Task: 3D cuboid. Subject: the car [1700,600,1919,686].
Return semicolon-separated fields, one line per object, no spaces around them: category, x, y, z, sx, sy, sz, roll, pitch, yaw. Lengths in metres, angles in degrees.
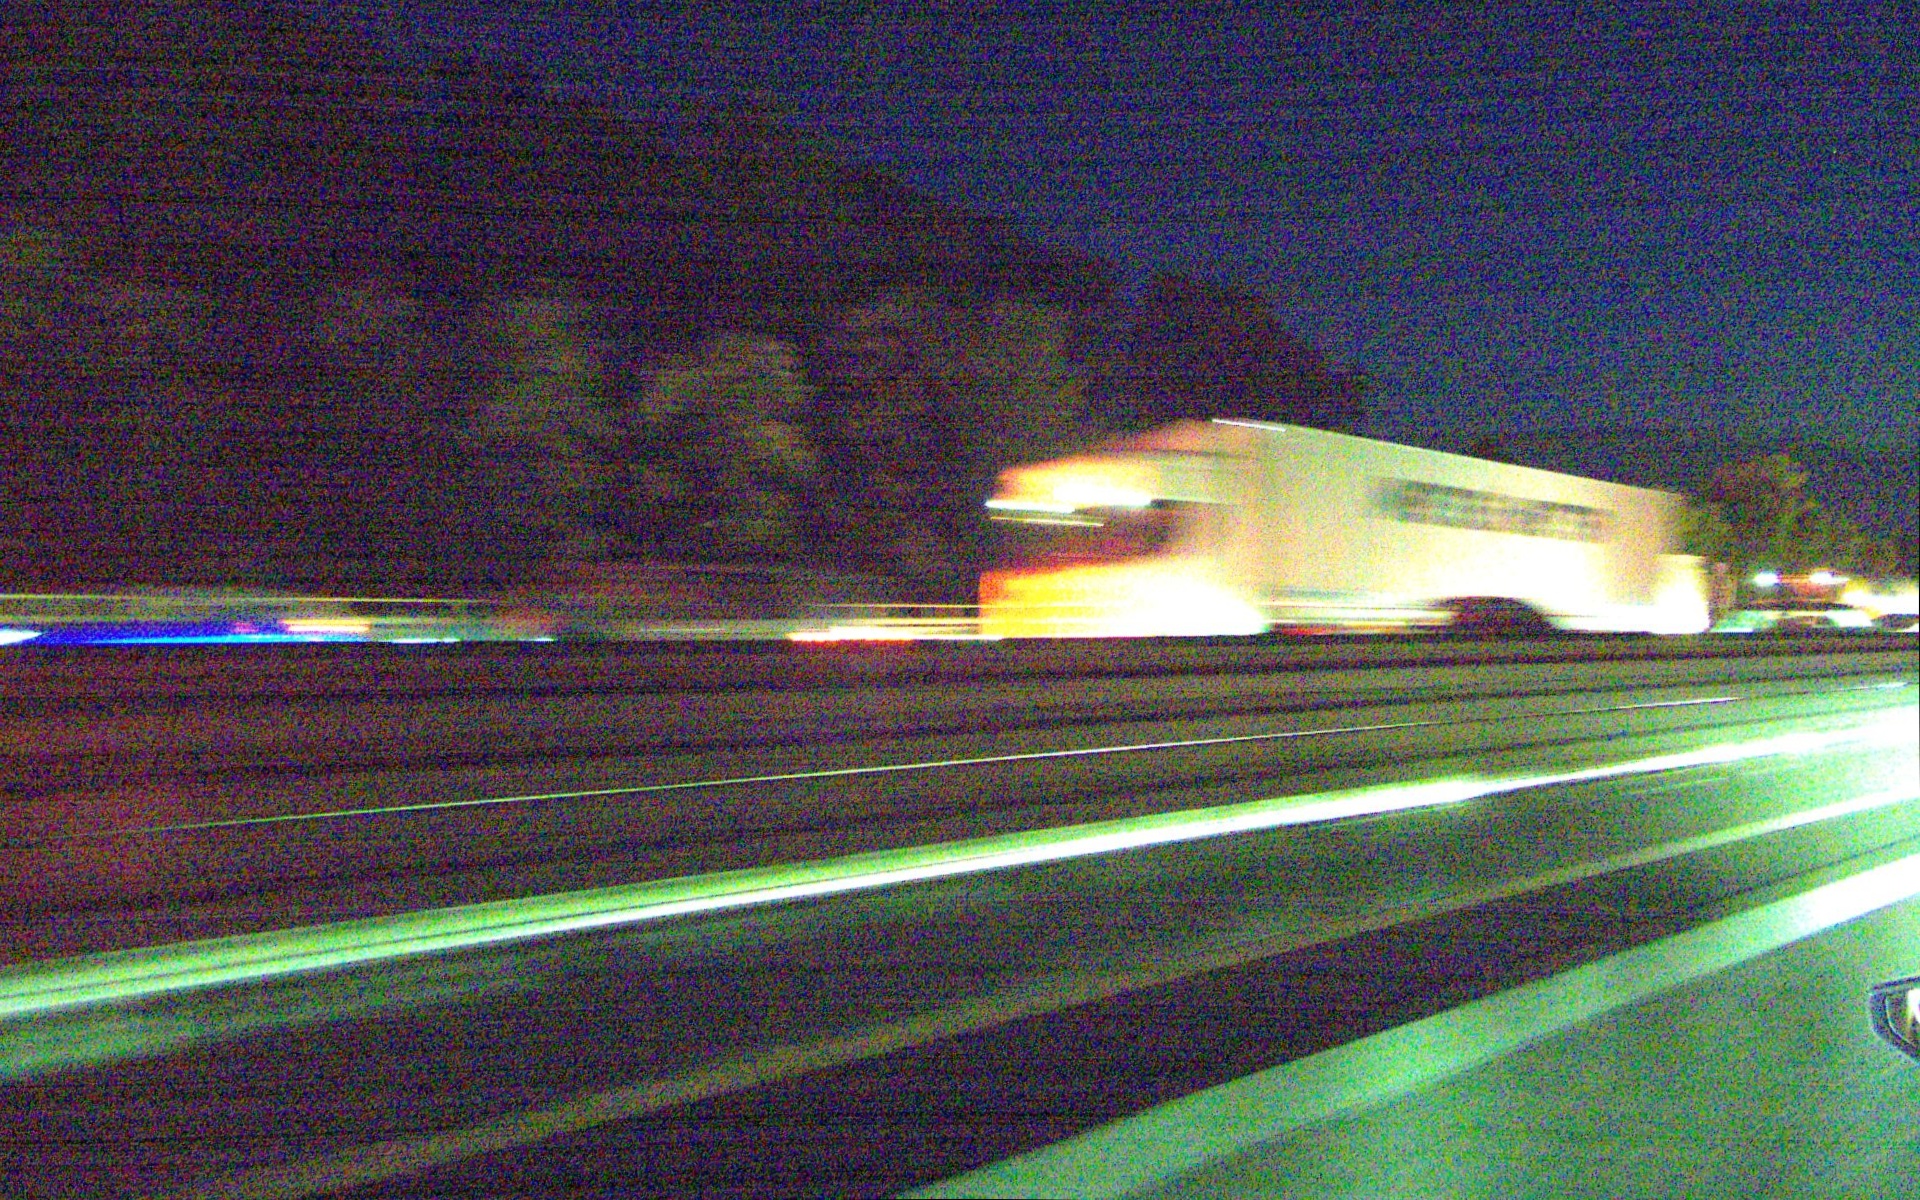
car;16.436;0.788;19.300;4.458;1.445;1.865;1;1;-29

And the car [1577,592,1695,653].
car;27.650;0.908;41.058;4.740;2.326;2.443;1;0;-35

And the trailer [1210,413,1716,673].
trailer;10.808;-0.761;20.655;12.311;4.143;3.073;3;2;-32

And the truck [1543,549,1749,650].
truck;22.707;0.032;33.085;8.081;2.999;2.543;1;1;-32

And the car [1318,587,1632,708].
car;7.514;0.628;14.575;4.458;1.445;1.835;1;3;-29

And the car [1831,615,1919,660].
car;31.683;1.277;34.424;3.954;1.372;1.562;1;1;-31

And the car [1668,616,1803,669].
car;21.768;1.165;28.157;4.113;1.333;1.562;1;1;-31

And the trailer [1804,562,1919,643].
trailer;41.286;0.208;44.997;8.906;3.218;2.591;2;3;-33

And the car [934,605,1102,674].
car;1.394;0.900;23.708;3.733;1.496;1.644;1;0;-33

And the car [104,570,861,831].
car;-3.109;0.595;7.332;4.453;1.445;1.697;1;0;-27

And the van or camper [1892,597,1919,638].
van or camper;50.450;0.951;51.783;7.570;2.041;2.171;1;1;-37

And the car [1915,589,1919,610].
car;63.383;0.028;64.846;3.956;1.372;1.561;1;1;-33

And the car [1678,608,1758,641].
car;33.891;1.115;44.897;3.956;1.372;1.561;1;1;-33

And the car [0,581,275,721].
car;-11.158;0.607;12.305;4.464;1.617;1.209;2;-2;-33

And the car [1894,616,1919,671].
car;26.203;1.173;26.241;3.954;1.372;1.562;1;1;-31

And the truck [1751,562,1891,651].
truck;35.355;0.295;41.219;5.733;3.262;2.628;3;2;-33

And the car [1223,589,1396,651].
car;8.325;0.482;23.831;4.113;1.333;1.562;1;1;-31

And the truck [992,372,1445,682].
truck;4.388;-0.928;16.648;6.999;4.152;3.091;3;2;-32

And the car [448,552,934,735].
car;-3.158;0.491;12.310;5.425;1.834;1.983;1;-1;-32

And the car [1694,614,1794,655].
car;28.383;1.247;36.335;4.530;1.372;1.560;1;0;-35

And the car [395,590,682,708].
car;-6.028;0.677;14.497;3.611;1.424;1.361;2;4;-34
